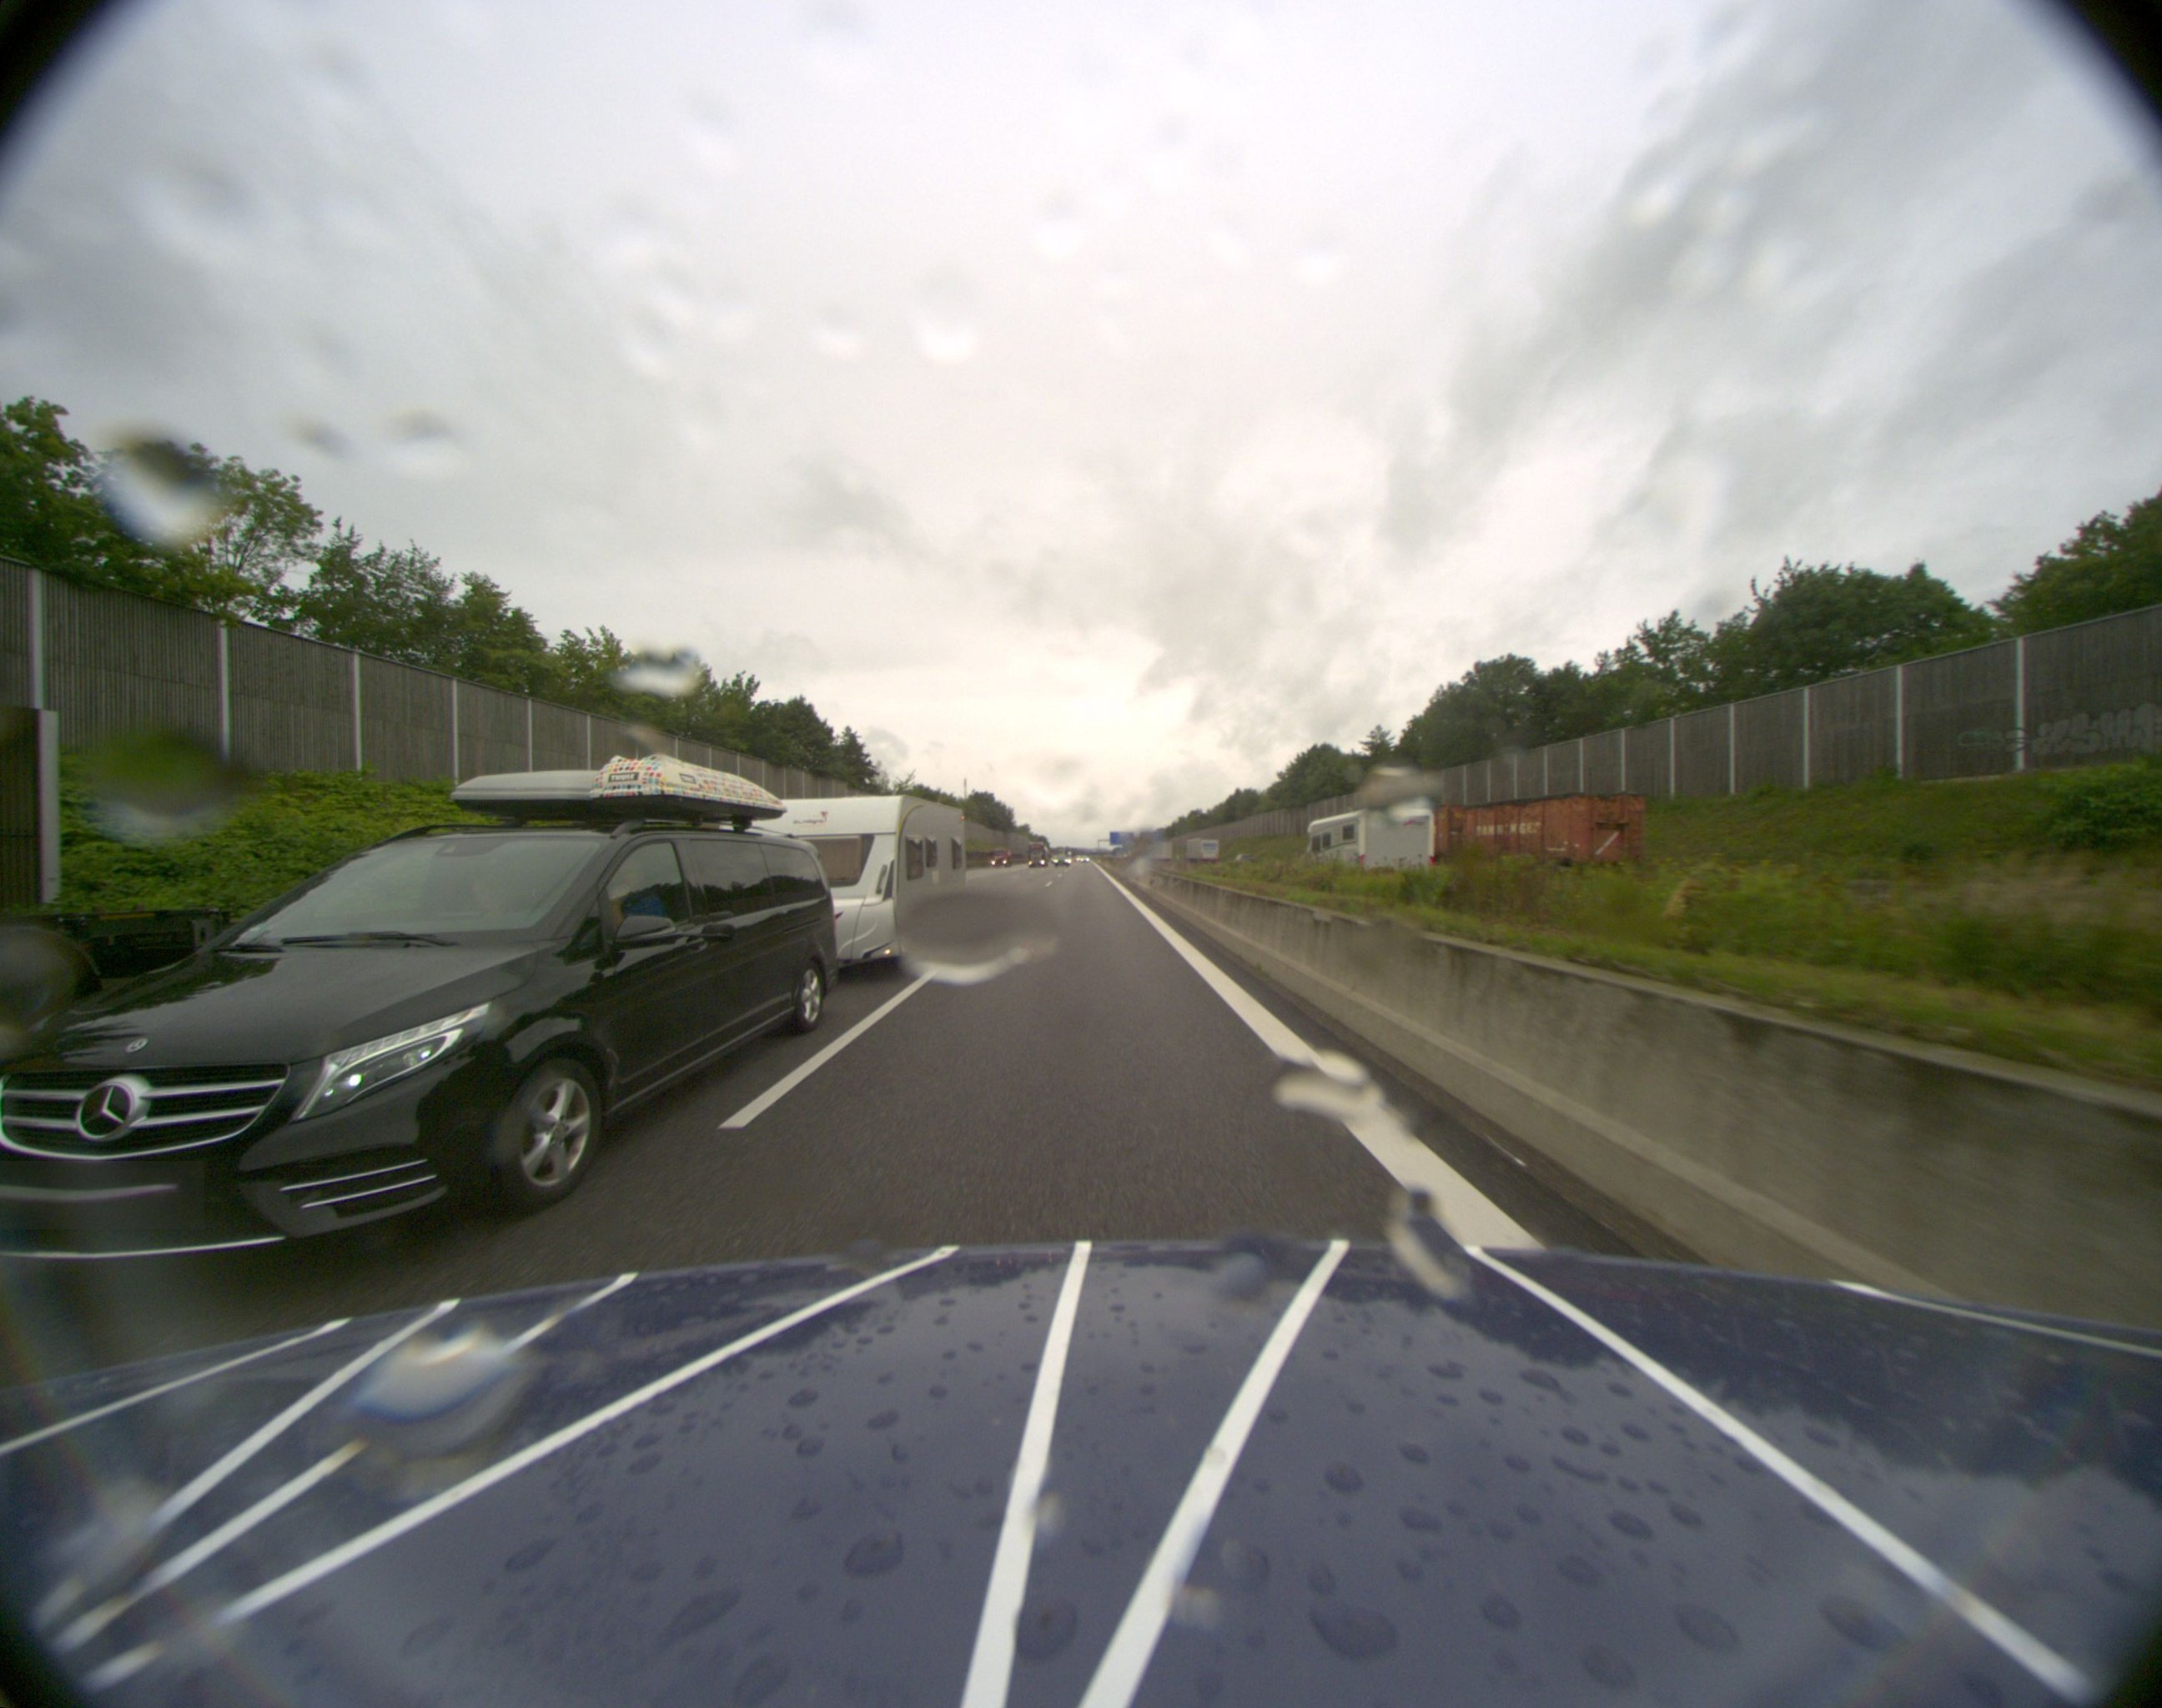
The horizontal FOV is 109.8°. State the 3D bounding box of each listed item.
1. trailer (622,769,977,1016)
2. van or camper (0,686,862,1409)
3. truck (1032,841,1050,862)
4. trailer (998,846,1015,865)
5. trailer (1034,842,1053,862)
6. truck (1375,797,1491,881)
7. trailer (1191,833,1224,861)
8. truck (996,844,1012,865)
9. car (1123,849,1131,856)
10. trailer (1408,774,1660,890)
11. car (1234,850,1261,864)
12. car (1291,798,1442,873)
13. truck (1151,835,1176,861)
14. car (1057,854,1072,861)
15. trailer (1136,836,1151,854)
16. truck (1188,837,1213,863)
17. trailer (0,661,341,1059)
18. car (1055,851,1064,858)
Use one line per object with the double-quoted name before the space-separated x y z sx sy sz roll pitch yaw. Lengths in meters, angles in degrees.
"trailer" -3.557 0.407 11.988 2.728 2.627 7.511 -1 0 0
"van or camper" -3.332 0.610 5.227 1.895 2.256 5.679 -2 0 0
"truck" -6.354 -0.358 120.826 2.617 3.218 4.632 -1 0 1
"trailer" -13.542 0.244 139.197 2.452 3.228 9.399 -1 0 -2
"trailer" -6.219 -0.313 127.761 2.600 3.228 9.915 -1 0 1
"truck" 17.231 -0.735 37.767 2.703 3.685 6.480 -3 1 1
"trailer" 18.478 -1.046 112.022 2.911 3.913 12.443 -1 0 0
"truck" -13.489 0.086 133.275 2.421 3.445 3.999 -1 0 -2
"car" 11.917 -0.368 197.140 1.977 1.679 4.357 -1 0 1
"trailer" 17.168 -0.735 30.543 2.733 3.662 12.562 -1 0 1
"car" 17.976 0.305 82.268 1.998 1.528 4.481 0 0 0
"car" 9.552 -0.603 26.406 2.380 2.180 7.723 -1 1 1
"truck" 14.719 -1.156 136.861 3.159 4.300 12.678 -3 1 1
"car" -2.478 0.510 111.919 2.061 1.020 3.438 -3 1 1
"trailer" 16.001 -2.230 194.935 2.786 4.300 14.022 -3 1 1
"truck" 18.529 -0.611 118.209 2.896 3.774 5.889 -1 0 1
"trailer" -11.961 0.154 2.482 2.658 3.930 16.683 -3 1 0
"car" -5.285 0.069 187.912 1.998 1.747 4.000 -2 0 1
